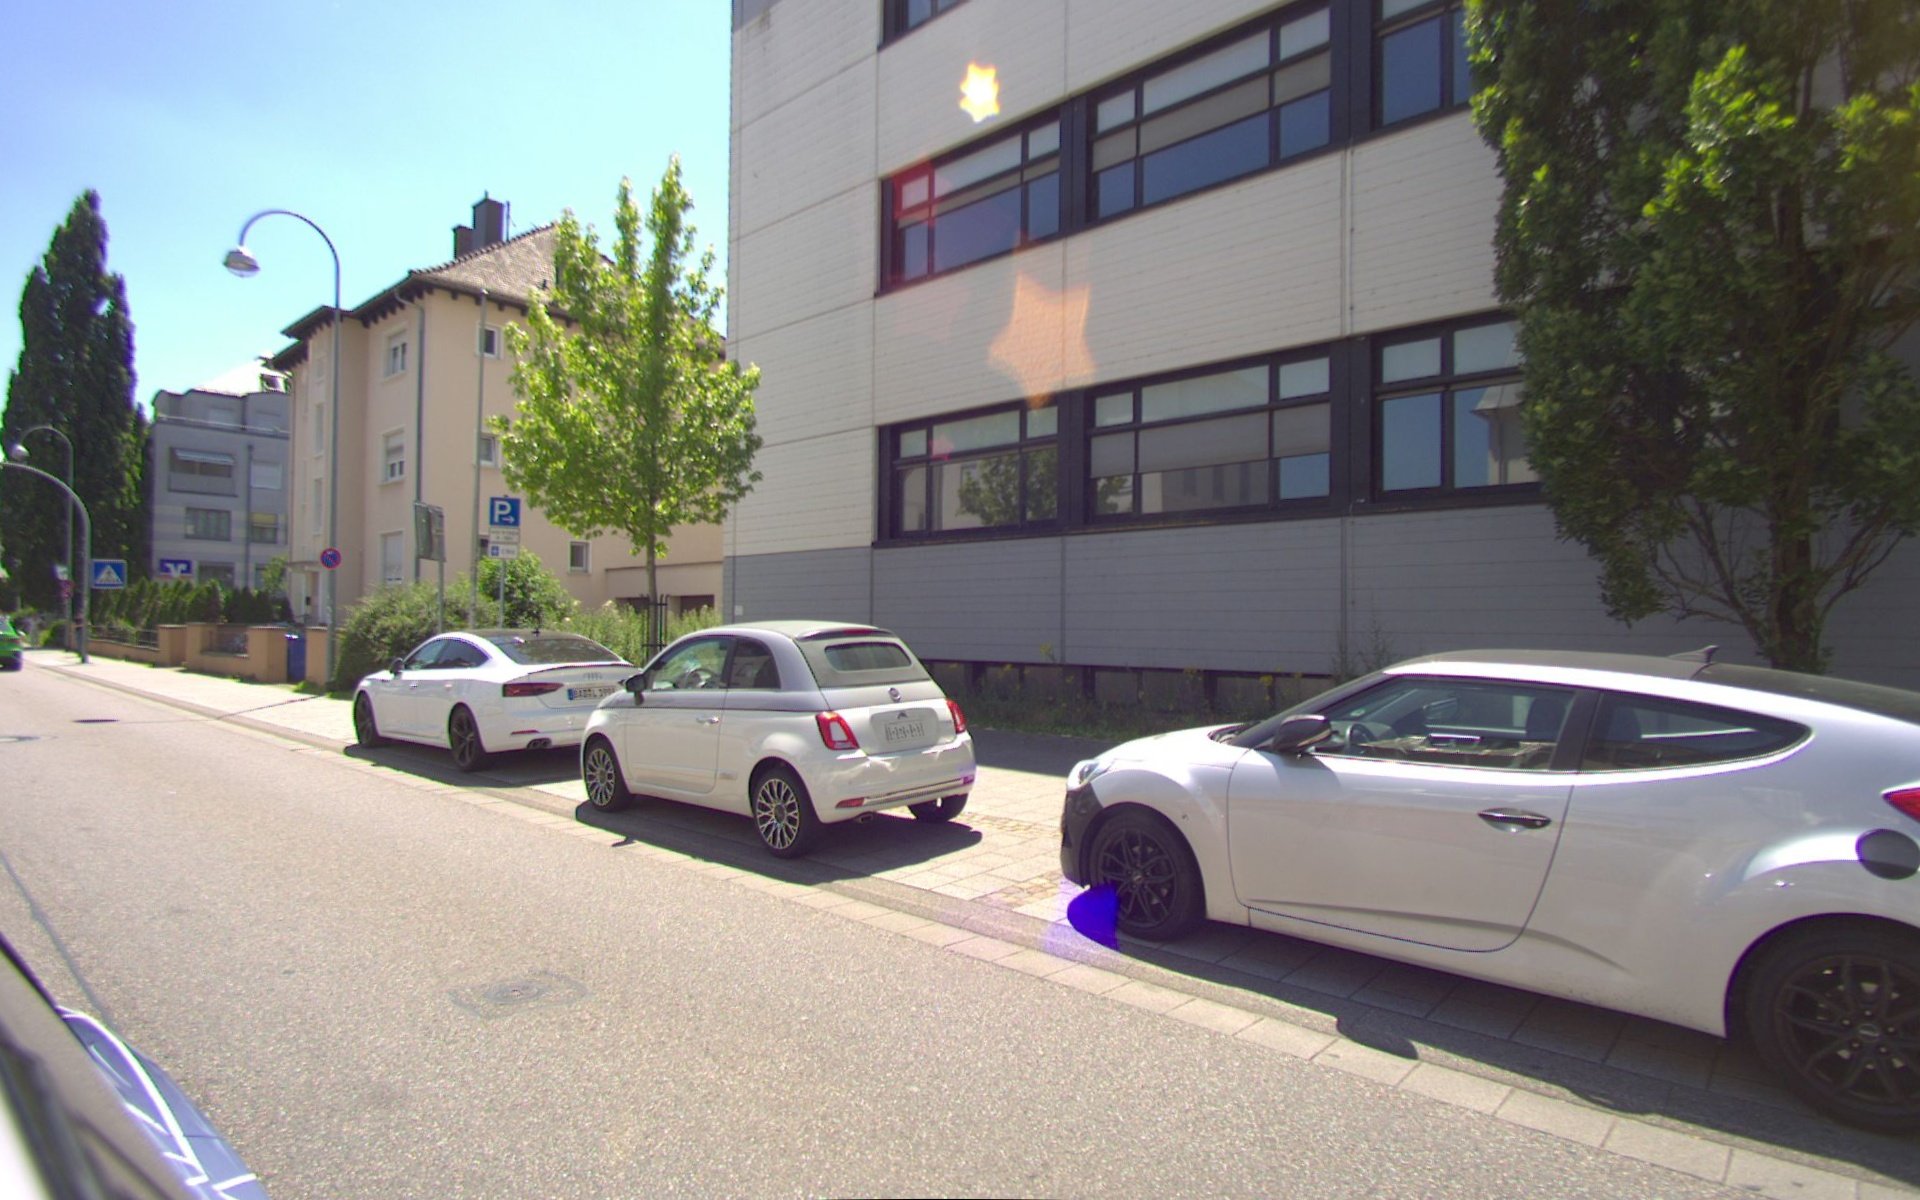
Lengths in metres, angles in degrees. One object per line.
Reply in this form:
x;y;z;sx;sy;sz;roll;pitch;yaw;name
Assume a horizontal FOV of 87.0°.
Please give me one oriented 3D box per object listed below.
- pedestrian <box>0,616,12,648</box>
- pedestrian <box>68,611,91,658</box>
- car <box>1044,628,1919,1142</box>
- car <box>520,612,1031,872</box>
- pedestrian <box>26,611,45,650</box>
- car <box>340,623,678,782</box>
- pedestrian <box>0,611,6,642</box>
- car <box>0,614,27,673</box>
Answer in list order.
-50.761;1.687;53.517;0.750;1.657;0.837;0;1;40;pedestrian
-32.352;1.265;37.173;0.708;1.698;0.531;-1;-2;42;pedestrian
2.446;0.861;4.385;3.933;1.420;1.729;-1;-1;43;car
-1.673;0.869;8.092;4.289;1.523;1.803;-1;-1;42;car
-40.841;1.353;44.703;0.708;1.698;0.531;-1;-2;42;pedestrian
-5.225;0.976;11.399;4.576;1.422;1.803;-1;-1;42;car
-56.631;1.555;59.473;0.951;1.784;0.740;-1;-2;41;pedestrian
-27.525;1.170;28.235;4.100;1.600;1.802;-1;-3;43;car
